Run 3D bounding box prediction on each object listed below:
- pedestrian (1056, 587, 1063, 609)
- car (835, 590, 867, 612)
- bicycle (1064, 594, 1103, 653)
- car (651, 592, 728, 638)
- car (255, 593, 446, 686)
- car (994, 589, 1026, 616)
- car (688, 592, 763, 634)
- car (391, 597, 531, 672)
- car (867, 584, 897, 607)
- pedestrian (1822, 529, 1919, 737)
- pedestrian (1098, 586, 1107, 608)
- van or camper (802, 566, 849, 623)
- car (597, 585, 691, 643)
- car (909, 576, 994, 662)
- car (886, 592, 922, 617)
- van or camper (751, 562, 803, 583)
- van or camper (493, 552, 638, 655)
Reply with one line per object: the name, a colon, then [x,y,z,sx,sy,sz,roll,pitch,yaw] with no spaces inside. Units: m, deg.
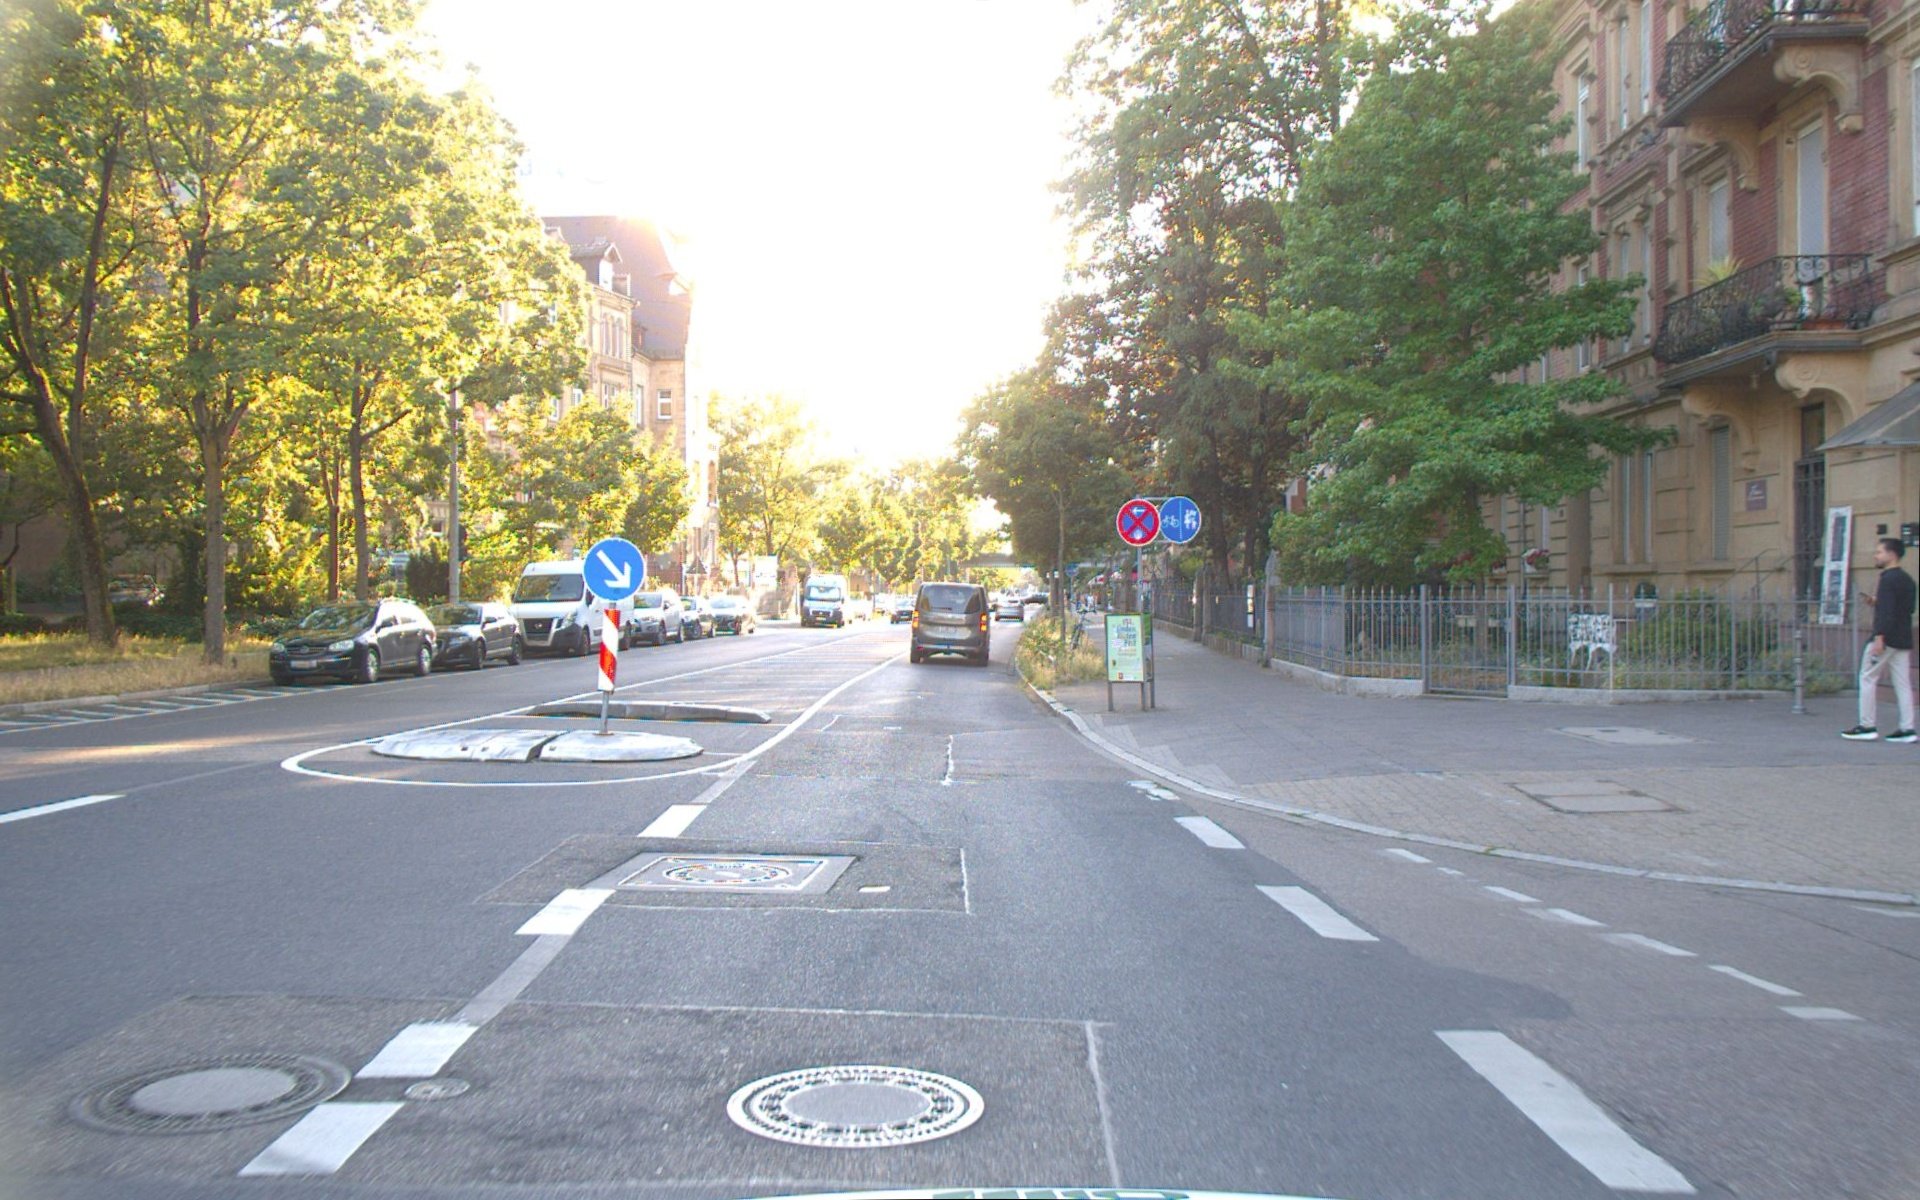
pedestrian: [8.782,-0.210,146.324,0.495,1.921,0.544,1,0,-12]
car: [-6.447,0.048,98.300,1.504,1.270,3.615,2,1,2]
bicycle: [2.582,0.475,34.784,0.633,1.187,1.931,2,1,-1]
car: [-9.262,0.489,56.950,1.700,1.471,4.627,0,1,3]
car: [-11.109,0.672,30.489,1.589,1.533,4.546,-1,1,3]
car: [3.129,0.138,103.673,1.952,1.662,4.001,0,1,2]
car: [-8.934,0.474,63.347,1.952,1.509,4.831,0,1,3]
car: [-10.801,0.700,36.101,1.594,1.454,4.244,-1,1,2]
car: [-5.343,-0.322,113.231,1.661,1.477,4.001,2,1,2]
pedestrian: [8.453,0.279,15.020,0.730,1.809,0.831,-3,0,-1]
pedestrian: [10.845,-0.225,126.226,0.631,1.661,0.656,2,0,3]
van or camper: [-6.788,-0.300,83.951,1.953,2.715,6.037,2,1,-1]
car: [-9.769,0.391,51.396,1.827,1.673,4.573,-1,1,3]
car: [-0.162,0.411,39.882,1.848,1.958,3.841,-1,1,2]
car: [-3.306,0.240,98.491,1.729,1.426,4.547,-1,1,3]
van or camper: [-23.947,-3.553,216.249,6.427,2.566,2.450,2,1,1]
van or camper: [-10.336,0.038,43.927,2.047,2.511,6.308,-1,1,2]
